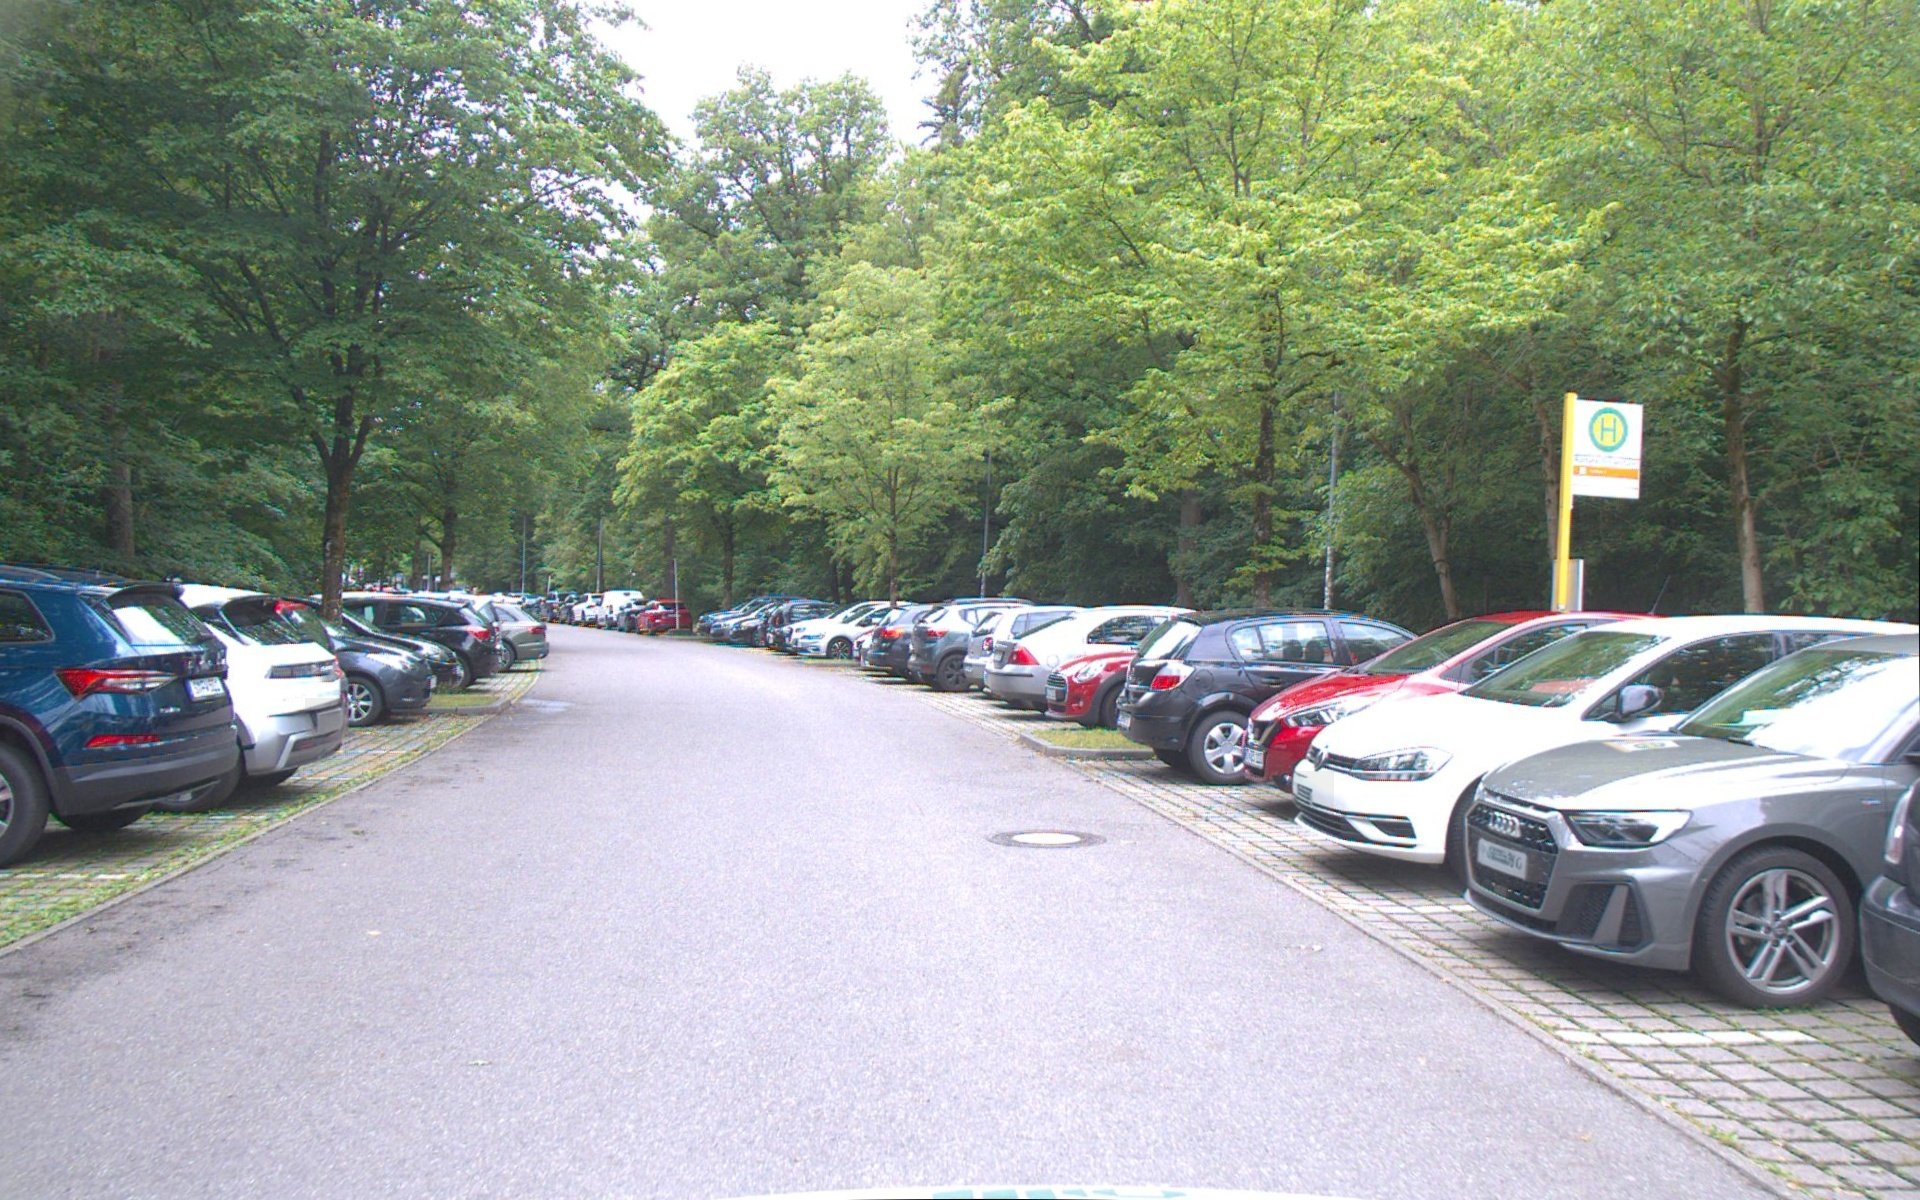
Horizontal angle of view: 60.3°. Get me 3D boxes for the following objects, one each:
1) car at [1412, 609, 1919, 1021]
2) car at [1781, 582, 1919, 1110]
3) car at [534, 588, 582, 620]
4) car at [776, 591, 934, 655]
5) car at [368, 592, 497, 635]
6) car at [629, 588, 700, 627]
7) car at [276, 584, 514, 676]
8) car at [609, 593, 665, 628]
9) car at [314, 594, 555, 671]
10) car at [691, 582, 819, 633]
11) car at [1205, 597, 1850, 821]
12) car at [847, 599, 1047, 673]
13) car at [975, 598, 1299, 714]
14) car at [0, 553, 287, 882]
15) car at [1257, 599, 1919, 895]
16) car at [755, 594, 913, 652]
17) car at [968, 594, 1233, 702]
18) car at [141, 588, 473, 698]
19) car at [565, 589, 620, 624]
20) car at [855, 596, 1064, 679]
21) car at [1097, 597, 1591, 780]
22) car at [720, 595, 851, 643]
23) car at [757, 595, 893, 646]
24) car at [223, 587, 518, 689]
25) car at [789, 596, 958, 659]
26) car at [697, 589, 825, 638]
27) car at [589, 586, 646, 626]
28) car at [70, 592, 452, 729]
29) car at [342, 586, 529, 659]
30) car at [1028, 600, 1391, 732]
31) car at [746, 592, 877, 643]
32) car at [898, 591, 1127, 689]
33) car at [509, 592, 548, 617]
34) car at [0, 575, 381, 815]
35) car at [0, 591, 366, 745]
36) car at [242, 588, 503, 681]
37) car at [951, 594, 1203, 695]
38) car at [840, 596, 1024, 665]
[{"bbox_3d":[4.248,0.892,7.308,3.910,1.509,1.875,3,-1,-6],"label":"car"},{"bbox_3d":[4.789,0.856,5.002,3.650,1.581,1.845,3,2,-6],"label":"car"},{"bbox_3d":[-22.990,0.216,94.534,1.864,1.777,4.912,1,0,-24],"label":"car"},{"bbox_3d":[-2.844,0.613,44.413,3.942,1.586,1.970,1,1,-15],"label":"car"},{"bbox_3d":[-19.051,0.476,59.731,4.308,1.512,1.878,0,-1,-24],"label":"car"},{"bbox_3d":[-12.203,0.277,68.088,1.965,1.505,4.940,1,0,-21],"label":"car"},{"bbox_3d":[-10.673,0.543,31.567,4.165,1.676,1.961,0,0,-16],"label":"car"},{"bbox_3d":[-14.339,0.456,73.264,1.701,1.447,4.257,1,0,-21],"label":"car"},{"bbox_3d":[-10.663,0.634,33.934,4.562,1.504,2.087,0,0,-15],"label":"car"},{"bbox_3d":[-7.315,0.265,58.873,4.202,1.695,1.947,1,0,-20],"label":"car"},{"bbox_3d":[4.114,0.773,12.377,4.148,1.506,1.916,1,0,-7],"label":"car"},{"bbox_3d":[-0.296,0.737,34.690,3.866,1.435,1.871,1,1,-15],"label":"car"},{"bbox_3d":[2.349,0.743,22.507,4.050,1.487,1.861,1,0,-10],"label":"car"},{"bbox_3d":[-6.529,0.571,9.623,4.339,1.724,2.169,1,1,-5],"label":"car"},{"bbox_3d":[4.273,0.797,9.681,4.678,1.501,1.851,1,1,-4],"label":"car"},{"bbox_3d":[-3.578,0.644,46.826,4.124,1.538,1.883,1,1,-19],"label":"car"},{"bbox_3d":[2.071,0.712,24.873,3.635,1.537,1.746,1,-1,-11],"label":"car"},{"bbox_3d":[-9.273,0.617,23.806,4.158,1.499,1.715,1,-1,-12],"label":"car"},{"bbox_3d":[-18.656,0.321,83.875,1.762,1.691,4.681,1,0,-24],"label":"car"},{"bbox_3d":[-0.024,0.718,32.058,3.707,1.507,1.766,1,1,-17],"label":"car"},{"bbox_3d":[3.343,0.749,14.861,3.911,1.509,1.919,1,0,-7],"label":"car"},{"bbox_3d":[-5.718,0.626,54.094,3.925,1.501,1.942,1,0,-18],"label":"car"},{"bbox_3d":[-4.049,0.608,49.447,3.767,1.483,1.800,0,0,-18],"label":"car"},{"bbox_3d":[-9.346,0.593,26.563,4.157,1.557,2.001,1,0,-11],"label":"car"},{"bbox_3d":[-2.200,0.696,41.968,3.916,1.509,1.874,1,1,-19],"label":"car"},{"bbox_3d":[-6.801,0.467,56.412,3.936,1.579,1.960,1,0,-25],"label":"car"},{"bbox_3d":[-16.232,0.277,78.204,1.721,1.811,4.519,1,0,-24],"label":"car"},{"bbox_3d":[-8.201,0.677,19.736,3.916,1.517,1.703,0,1,-12],"label":"car"},{"bbox_3d":[-12.247,0.507,38.860,3.886,1.656,1.995,0,0,-8],"label":"car"},{"bbox_3d":[2.944,0.762,19.906,3.916,1.475,1.936,1,0,-11],"label":"car"},{"bbox_3d":[-4.646,0.527,51.596,3.769,1.558,1.841,0,0,-19],"label":"car"},{"bbox_3d":[0.887,0.691,29.329,3.702,1.617,1.944,1,1,-12],"label":"car"},{"bbox_3d":[-27.205,0.251,104.199,1.616,1.503,4.117,1,0,-26],"label":"car"},{"bbox_3d":[-6.734,0.642,12.203,4.272,1.626,2.028,0,0,-7],"label":"car"},{"bbox_3d":[-8.247,0.675,17.278,3.539,1.500,1.671,1,0,-8],"label":"car"},{"bbox_3d":[-10.233,0.582,29.109,4.162,1.560,1.756,0,0,-15],"label":"car"},{"bbox_3d":[1.883,0.714,27.033,3.777,1.573,1.724,1,0,-14],"label":"car"},{"bbox_3d":[-0.636,0.693,37.485,3.743,1.466,1.857,1,1,-23],"label":"car"}]
